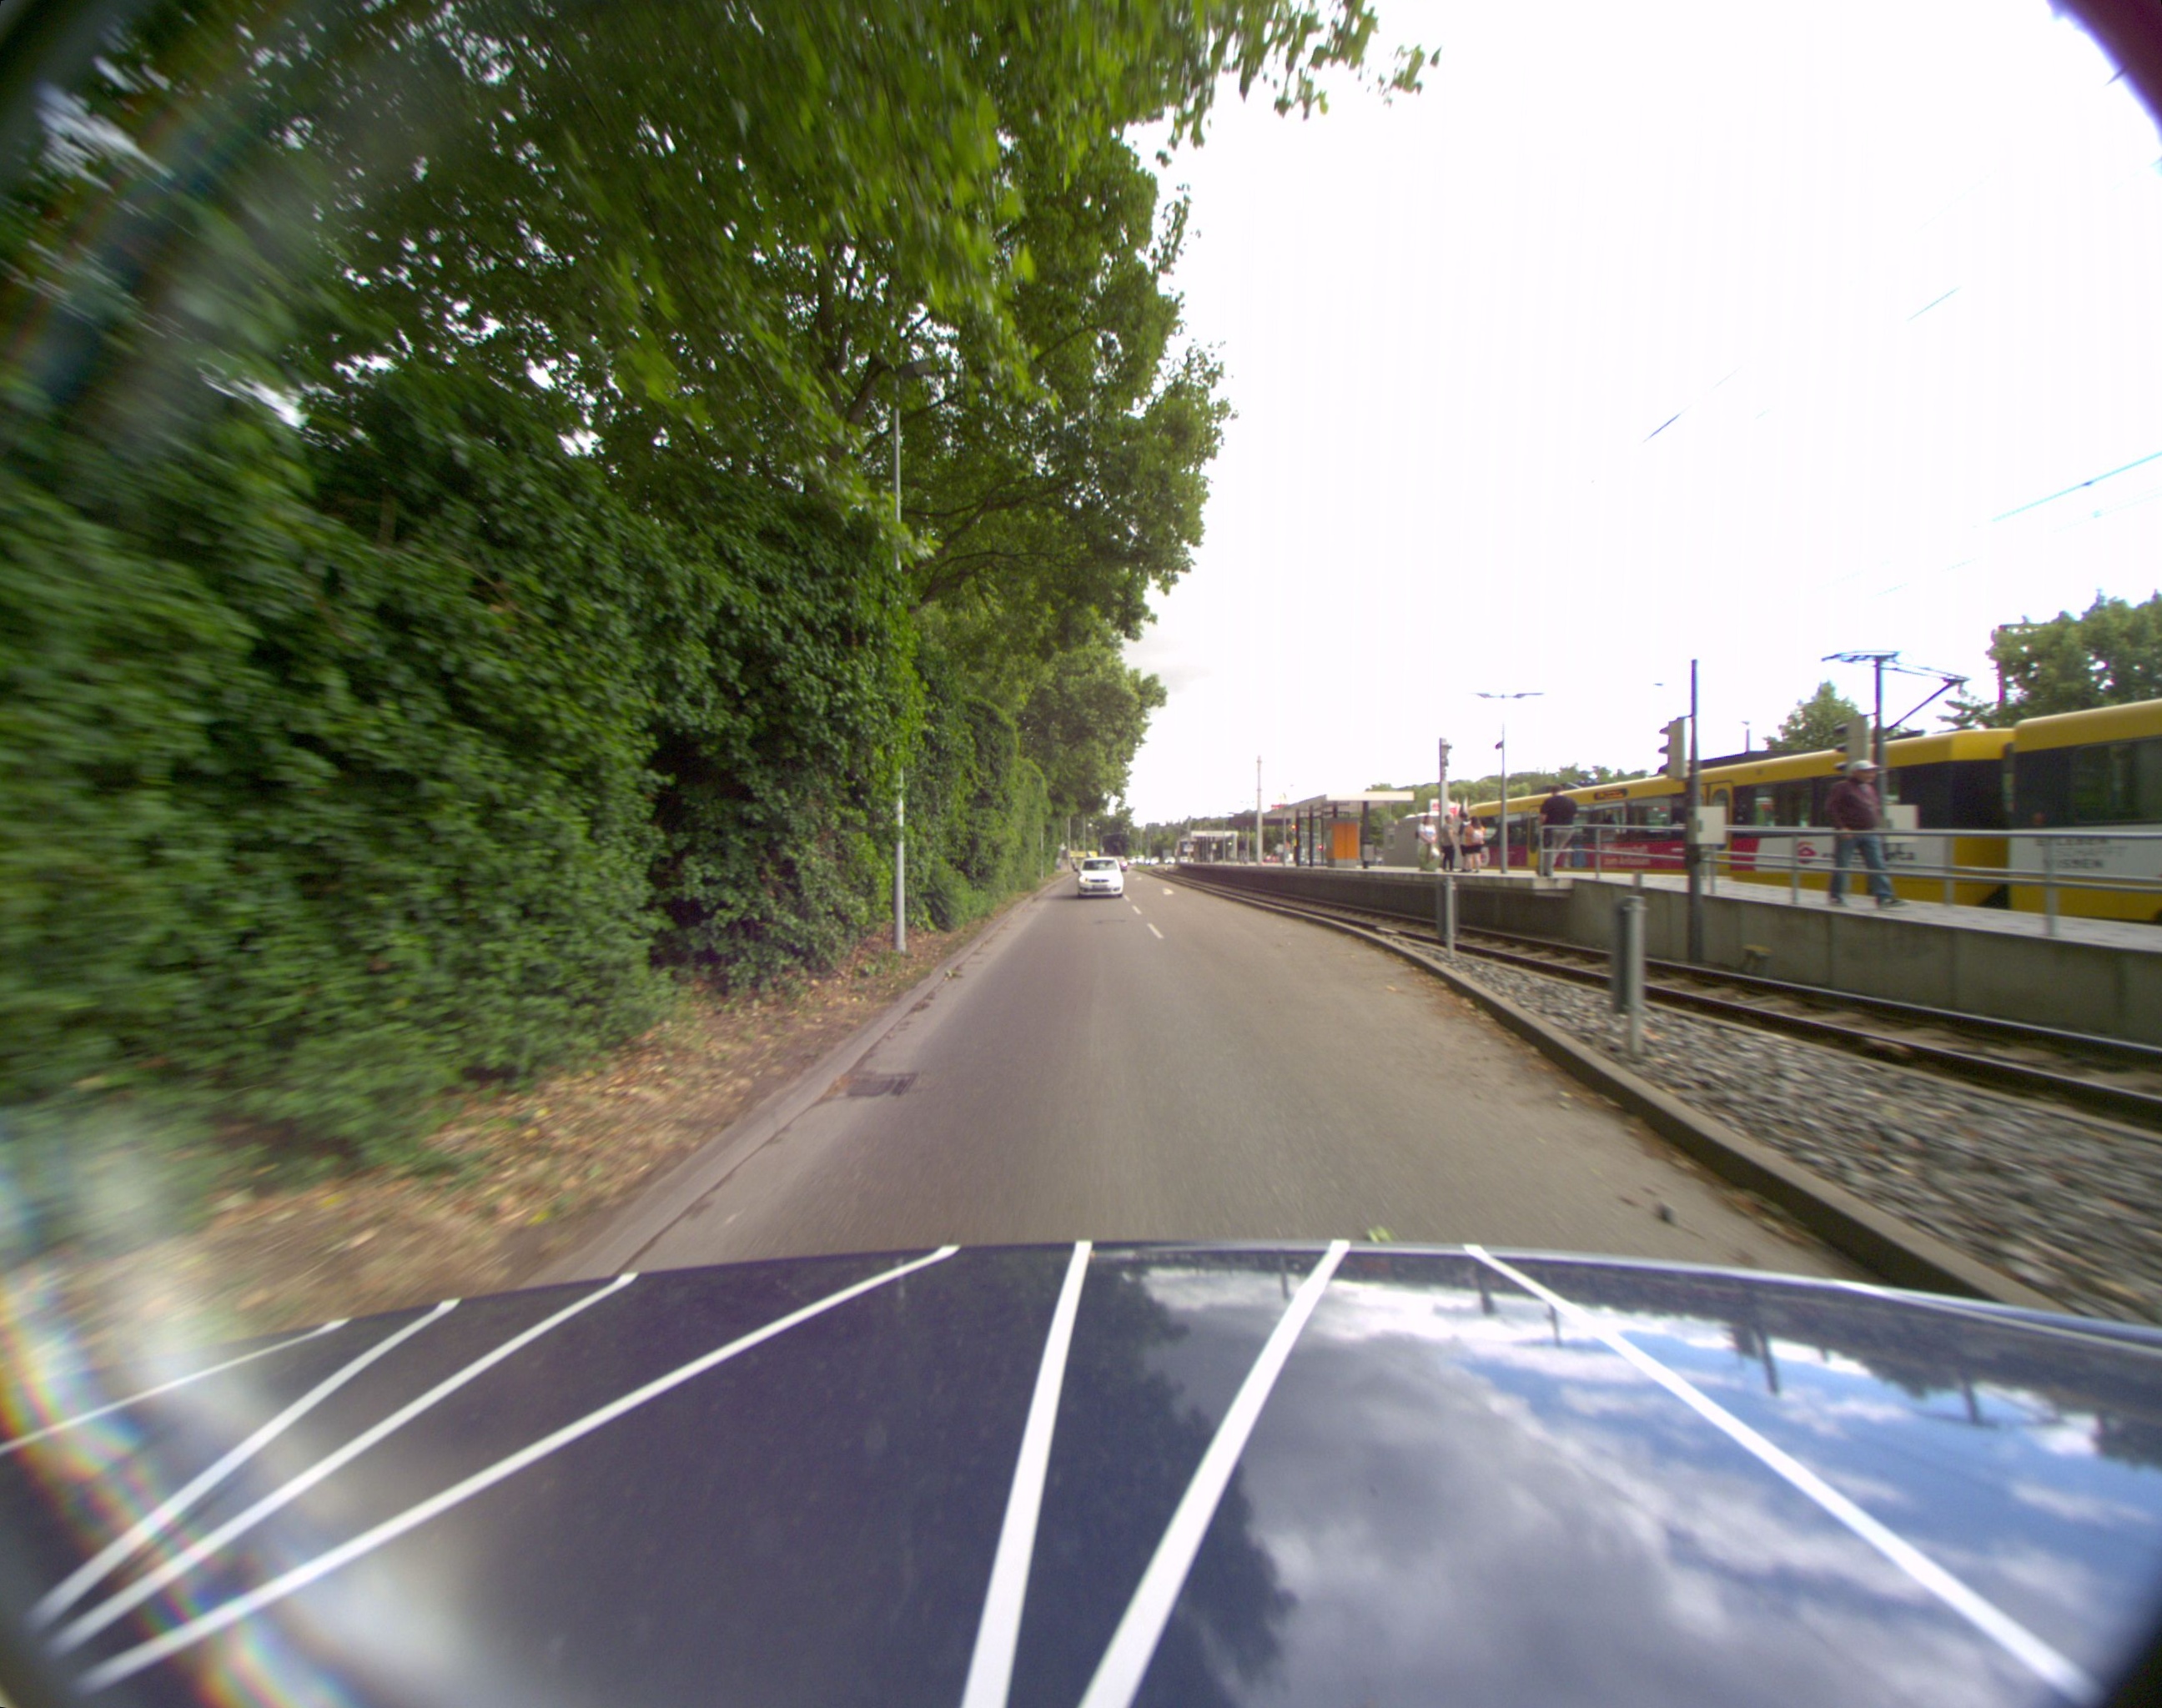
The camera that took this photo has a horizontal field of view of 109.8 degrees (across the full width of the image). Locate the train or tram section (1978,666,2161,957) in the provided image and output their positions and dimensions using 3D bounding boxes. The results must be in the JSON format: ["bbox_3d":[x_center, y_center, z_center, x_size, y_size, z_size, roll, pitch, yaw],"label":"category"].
[{"bbox_3d":[15.134,-0.538,2.716,2.762,3.806,18.634,-1,0,3],"label":"train or tram section"}]

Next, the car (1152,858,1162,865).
[{"bbox_3d":[17.519,1.686,174.119,1.829,1.543,4.004,1,0,12],"label":"car"}]

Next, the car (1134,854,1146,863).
[{"bbox_3d":[12.338,0.933,159.558,1.807,1.814,4.004,-1,0,14],"label":"car"}]

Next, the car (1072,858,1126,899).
[{"bbox_3d":[0.612,0.869,28.594,1.674,1.439,3.603,0,0,-5],"label":"car"}]

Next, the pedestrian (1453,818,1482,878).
[{"bbox_3d":[9.628,-0.150,18.957,0.476,1.474,0.543,1,0,9],"label":"pedestrian"}]

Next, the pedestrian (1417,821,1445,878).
[{"bbox_3d":[9.161,-0.120,19.886,0.519,1.474,0.583,1,1,40],"label":"pedestrian"}]

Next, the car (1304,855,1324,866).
[{"bbox_3d":[30.613,0.867,99.943,1.617,1.342,4.031,0,0,2],"label":"car"}]

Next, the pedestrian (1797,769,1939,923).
[{"bbox_3d":[8.987,-0.084,8.715,0.773,1.668,0.791,1,0,1],"label":"pedestrian"}]

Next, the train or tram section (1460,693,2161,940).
[{"bbox_3d":[16.190,-0.626,21.313,2.763,3.860,18.634,-1,0,3],"label":"train or tram section"}]

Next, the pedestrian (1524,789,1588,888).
[{"bbox_3d":[8.321,-0.256,13.303,0.878,1.668,0.743,1,1,-45],"label":"pedestrian"}]

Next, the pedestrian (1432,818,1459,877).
[{"bbox_3d":[9.138,-0.151,19.055,0.361,1.456,0.639,0,0,1],"label":"pedestrian"}]

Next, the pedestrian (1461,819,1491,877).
[{"bbox_3d":[9.559,-0.144,18.374,0.480,1.397,0.411,1,0,0],"label":"pedestrian"}]

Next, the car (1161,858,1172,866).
[{"bbox_3d":[17.924,1.705,158.833,1.965,1.543,4.004,1,0,11],"label":"car"}]

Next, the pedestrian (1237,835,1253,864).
[{"bbox_3d":[9.982,-0.267,46.273,0.750,1.734,0.937,1,0,1],"label":"pedestrian"}]

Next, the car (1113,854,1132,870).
[{"bbox_3d":[4.303,0.796,78.750,1.895,1.607,4.510,0,0,4],"label":"car"}]

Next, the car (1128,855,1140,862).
[{"bbox_3d":[10.742,0.837,153.311,1.718,1.410,4.004,1,0,13],"label":"car"}]

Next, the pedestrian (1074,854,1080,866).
[{"bbox_3d":[-0.559,0.817,101.957,0.755,1.505,0.671,1,0,1],"label":"pedestrian"}]

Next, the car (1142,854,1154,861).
[{"bbox_3d":[14.805,0.696,167.738,1.996,1.527,4.005,1,0,14],"label":"car"}]
